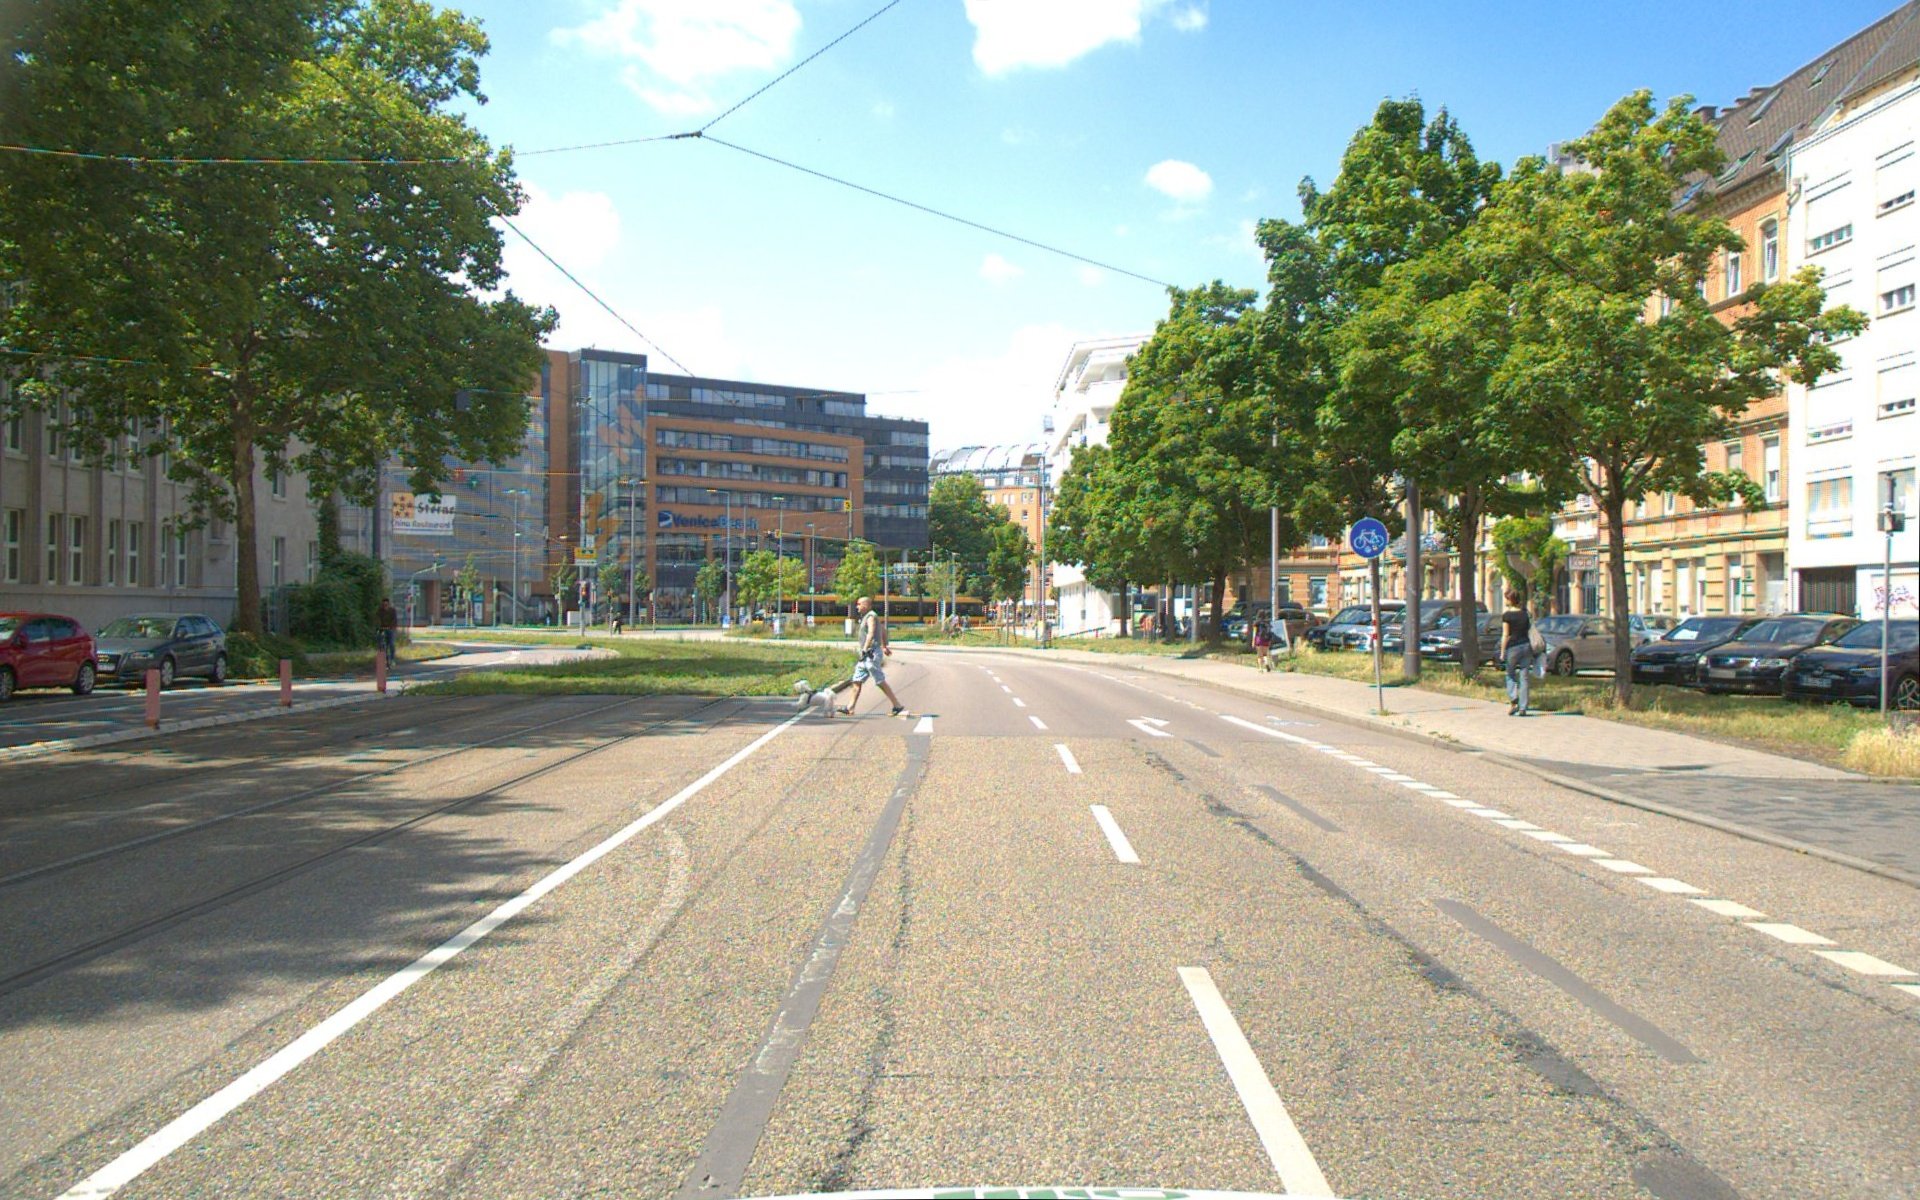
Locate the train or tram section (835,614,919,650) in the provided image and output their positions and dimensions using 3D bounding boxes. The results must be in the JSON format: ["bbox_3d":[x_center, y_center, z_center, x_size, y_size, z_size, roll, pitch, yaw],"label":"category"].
[{"bbox_3d":[-8.930,3.519,180.387,3.004,3.666,10.951,1,-1,36],"label":"train or tram section"}]

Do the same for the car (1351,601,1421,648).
[{"bbox_3d":[21.328,1.252,82.955,2.068,2.217,5.393,1,-1,0],"label":"car"}]

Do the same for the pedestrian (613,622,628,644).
[{"bbox_3d":[-26.701,2.585,130.119,0.897,1.732,0.808,-1,-1,24],"label":"pedestrian"}]

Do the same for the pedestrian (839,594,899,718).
[{"bbox_3d":[-1.290,0.793,23.660,0.765,1.734,0.702,1,-1,1],"label":"pedestrian"}]

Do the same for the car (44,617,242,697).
[{"bbox_3d":[-16.118,1.078,32.886,1.888,1.393,4.315,2,0,-2],"label":"car"}]

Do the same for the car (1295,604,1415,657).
[{"bbox_3d":[14.157,1.104,59.161,4.095,1.771,1.832,2,-1,-32],"label":"car"}]

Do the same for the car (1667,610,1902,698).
[{"bbox_3d":[14.203,0.938,28.451,3.951,1.404,1.939,2,-1,-34],"label":"car"}]

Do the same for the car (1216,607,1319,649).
[{"bbox_3d":[13.316,1.214,71.712,4.112,1.685,1.899,2,-1,-28],"label":"car"}]

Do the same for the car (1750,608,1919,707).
[{"bbox_3d":[14.033,0.865,24.714,3.933,1.378,1.947,2,-1,-23],"label":"car"}]

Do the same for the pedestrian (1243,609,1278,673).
[{"bbox_3d":[7.749,1.055,42.700,0.686,1.620,0.905,1,-1,-2],"label":"pedestrian"}]

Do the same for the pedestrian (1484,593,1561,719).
[{"bbox_3d":[7.973,0.782,23.496,0.686,1.734,1.044,-1,-1,-2],"label":"pedestrian"}]

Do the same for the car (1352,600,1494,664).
[{"bbox_3d":[13.688,0.959,48.813,4.319,1.771,1.828,2,-1,-37],"label":"car"}]

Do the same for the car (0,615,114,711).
[{"bbox_3d":[-16.251,1.024,27.861,1.887,1.445,4.049,2,0,0],"label":"car"}]

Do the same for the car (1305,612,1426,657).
[{"bbox_3d":[13.757,1.182,55.977,4.039,1.430,1.829,2,-1,-36],"label":"car"}]

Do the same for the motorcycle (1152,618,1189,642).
[{"bbox_3d":[10.483,1.485,82.400,1.747,1.187,0.639,0,-1,-2],"label":"motorcycle"}]

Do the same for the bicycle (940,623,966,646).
[{"bbox_3d":[-0.418,2.014,96.742,0.680,1.264,1.836,-2,0,30],"label":"bicycle"}]

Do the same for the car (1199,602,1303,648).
[{"bbox_3d":[13.155,1.125,74.700,4.569,1.961,1.896,2,-1,-32],"label":"car"}]

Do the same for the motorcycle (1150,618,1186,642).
[{"bbox_3d":[10.463,1.495,83.282,1.747,1.187,0.639,0,-1,-2],"label":"motorcycle"}]

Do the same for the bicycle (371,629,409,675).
[{"bbox_3d":[-14.722,1.336,42.751,0.778,1.129,2.266,2,-1,-17],"label":"bicycle"}]

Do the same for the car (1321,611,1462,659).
[{"bbox_3d":[13.791,1.124,52.745,4.639,1.404,1.829,2,-1,-35],"label":"car"}]

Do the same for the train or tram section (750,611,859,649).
[{"bbox_3d":[-15.880,3.179,170.392,3.162,3.662,13.450,1,-1,35],"label":"train or tram section"}]

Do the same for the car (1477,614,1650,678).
[{"bbox_3d":[14.142,1.084,38.667,4.223,1.404,1.828,2,-1,-37],"label":"car"}]

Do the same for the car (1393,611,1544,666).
[{"bbox_3d":[13.865,1.052,45.046,4.223,1.404,1.828,2,-1,-37],"label":"car"}]

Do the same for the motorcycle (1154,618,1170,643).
[{"bbox_3d":[9.744,1.448,79.746,0.624,1.187,1.908,0,-1,11],"label":"motorcycle"}]

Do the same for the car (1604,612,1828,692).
[{"bbox_3d":[14.372,0.987,31.430,3.943,1.404,1.943,2,-1,-29],"label":"car"}]

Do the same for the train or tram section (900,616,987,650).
[{"bbox_3d":[-1.811,3.859,190.027,3.004,3.684,12.585,1,-1,36],"label":"train or tram section"}]

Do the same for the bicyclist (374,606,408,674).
[{"bbox_3d":[-14.762,1.038,42.912,0.749,1.734,0.779,2,-1,-18],"label":"bicyclist"}]

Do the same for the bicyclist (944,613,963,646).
[{"bbox_3d":[-0.385,1.731,96.832,0.681,1.856,0.954,-2,0,30],"label":"bicyclist"}]
